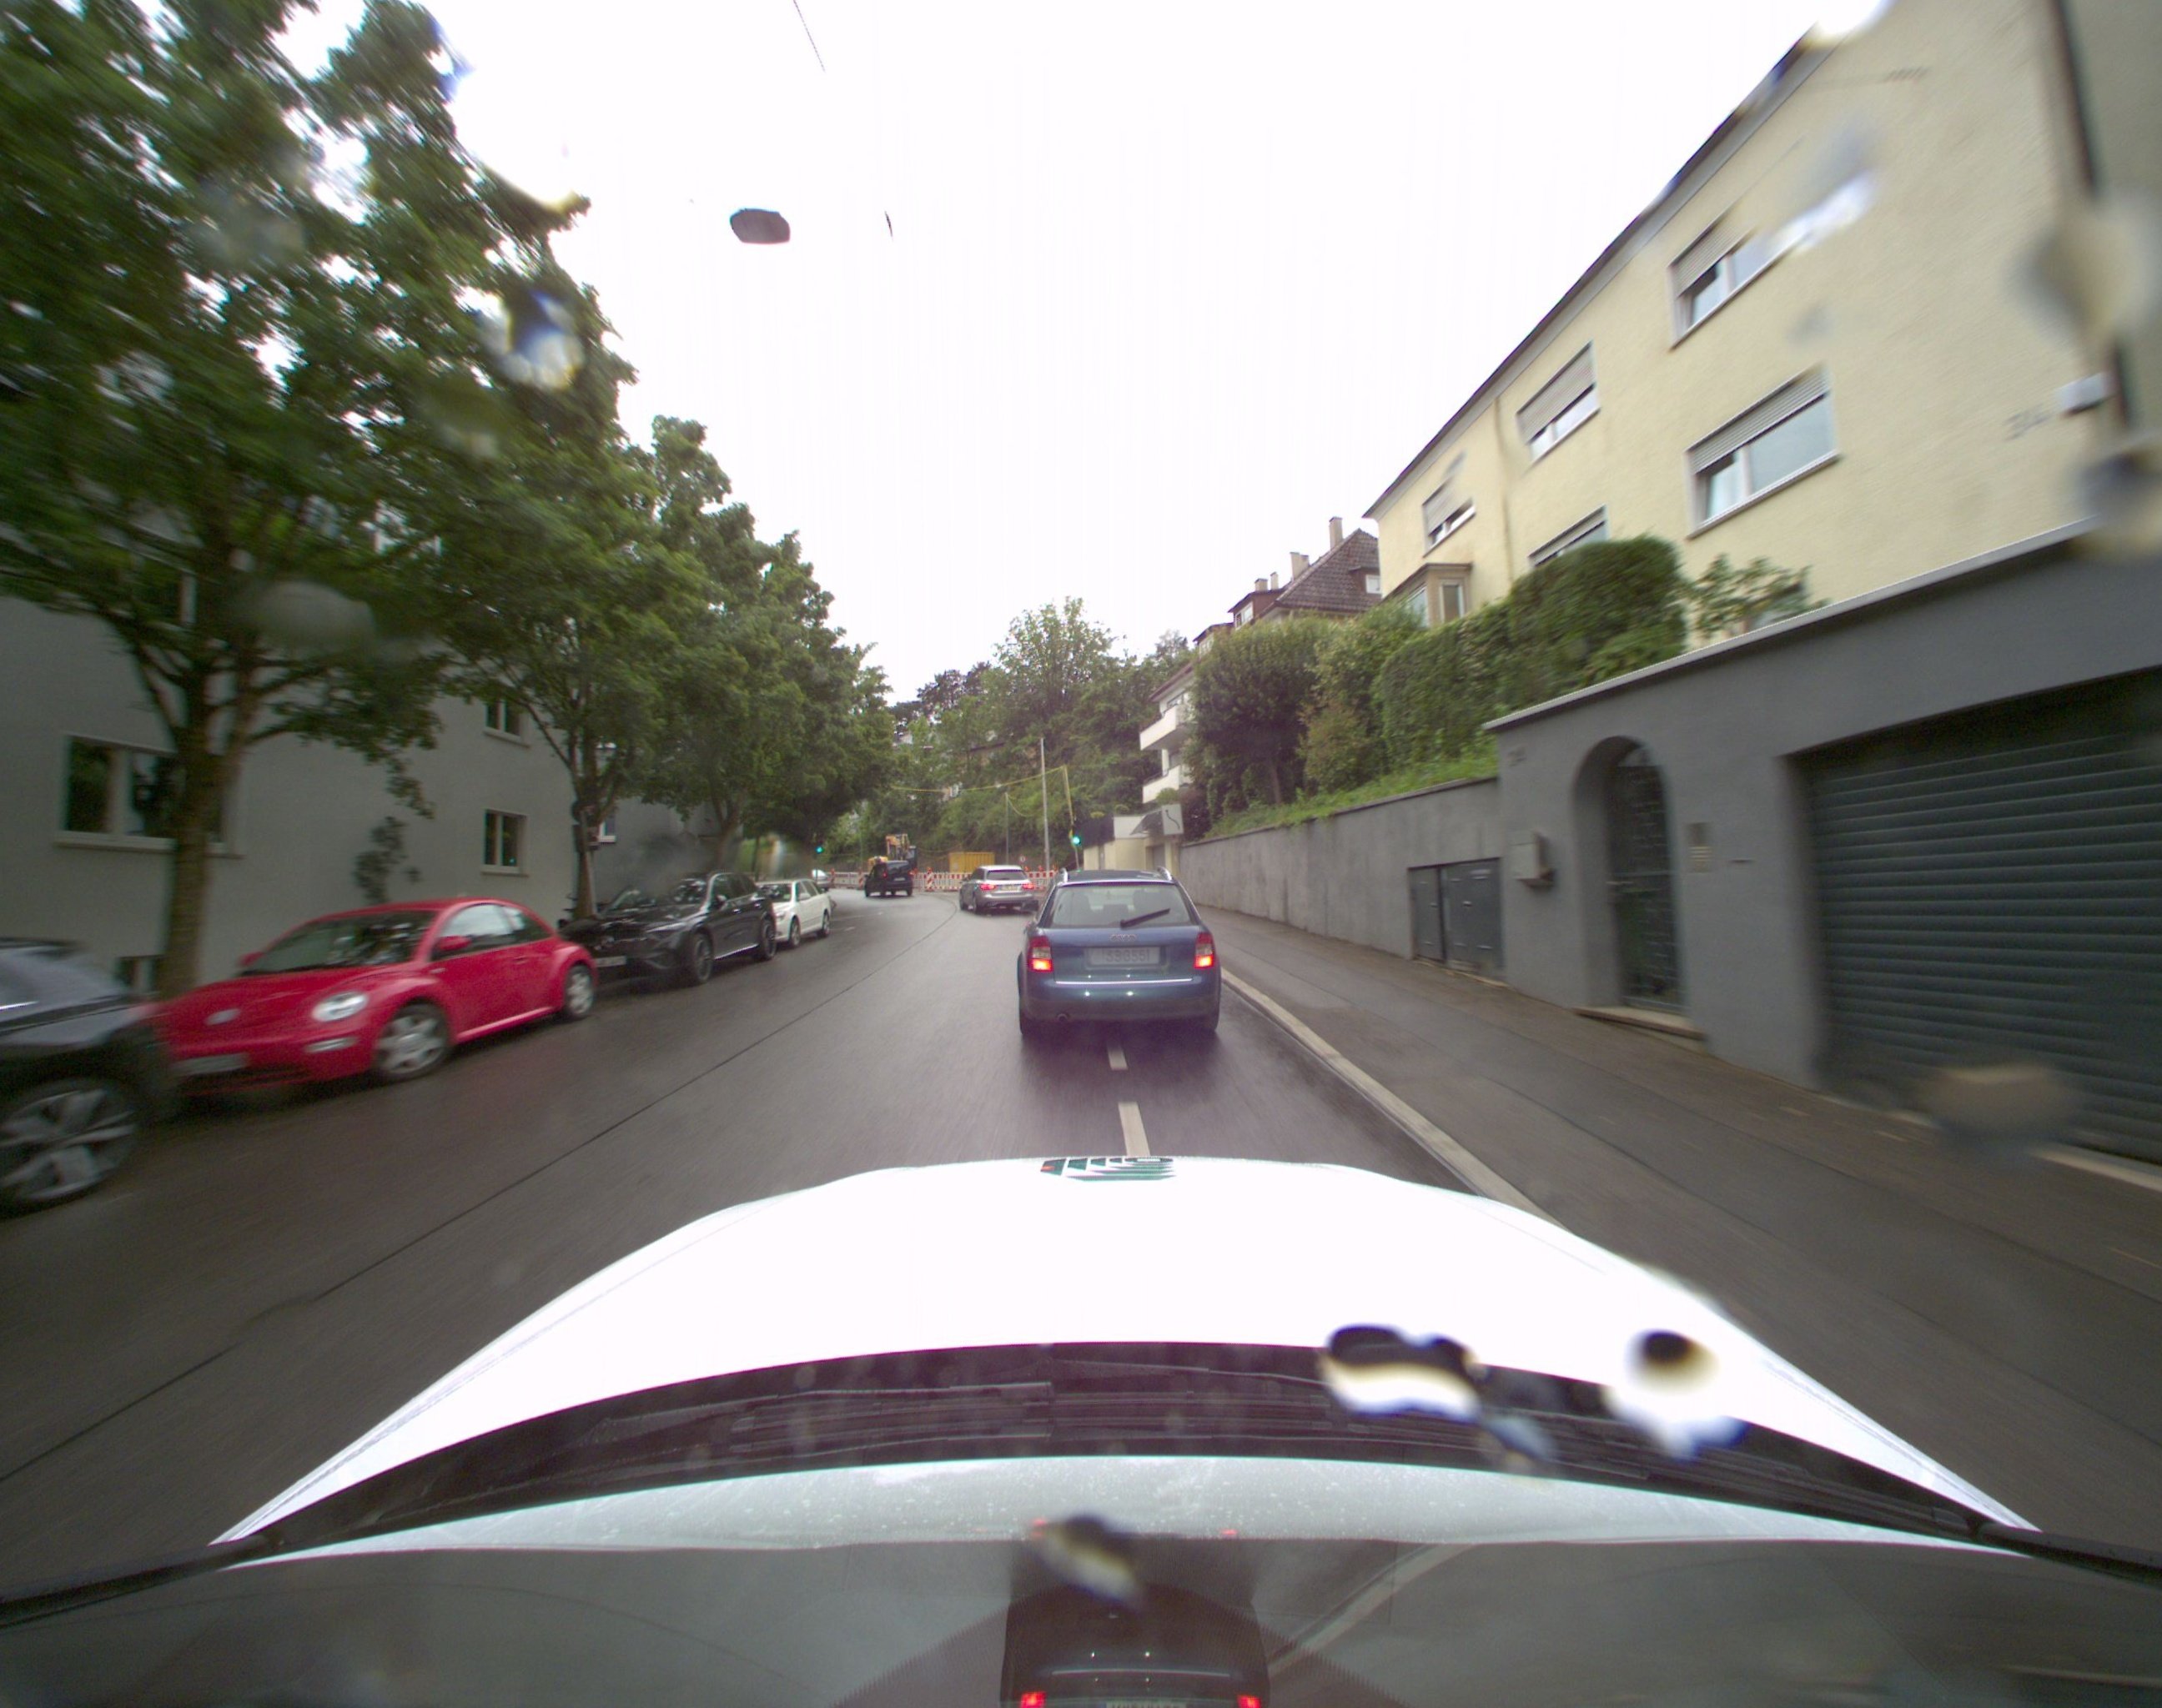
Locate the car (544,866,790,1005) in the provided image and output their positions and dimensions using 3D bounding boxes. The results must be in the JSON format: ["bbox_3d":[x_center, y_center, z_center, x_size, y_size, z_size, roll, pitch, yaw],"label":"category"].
[{"bbox_3d":[-6.250,1.095,12.995,1.678,1.608,4.571,-5,0,-3],"label":"car"}]

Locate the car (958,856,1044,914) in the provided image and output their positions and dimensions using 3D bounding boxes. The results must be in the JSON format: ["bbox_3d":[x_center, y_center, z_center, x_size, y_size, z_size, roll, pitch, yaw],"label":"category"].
[{"bbox_3d":[-2.644,0.918,25.902,1.930,1.618,4.297,-2,0,-16],"label":"car"}]

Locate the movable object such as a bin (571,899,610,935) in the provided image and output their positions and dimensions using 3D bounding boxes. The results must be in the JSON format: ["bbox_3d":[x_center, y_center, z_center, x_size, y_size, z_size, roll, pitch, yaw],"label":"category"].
[{"bbox_3d":[-13.819,1.764,22.952,0.652,0.951,0.645,-3,0,6],"label":"movable object such as a bin"}]

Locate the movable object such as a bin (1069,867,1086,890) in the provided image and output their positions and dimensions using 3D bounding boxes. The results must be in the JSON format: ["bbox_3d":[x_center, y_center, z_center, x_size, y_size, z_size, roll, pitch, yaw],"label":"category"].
[{"bbox_3d":[-0.166,1.171,39.292,0.719,1.032,0.590,-3,-1,-8],"label":"movable object such as a bin"}]

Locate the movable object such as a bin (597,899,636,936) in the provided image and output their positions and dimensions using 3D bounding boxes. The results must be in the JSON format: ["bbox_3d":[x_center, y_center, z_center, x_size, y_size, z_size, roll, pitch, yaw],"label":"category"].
[{"bbox_3d":[-13.048,1.772,22.888,0.652,0.951,0.645,-3,0,6],"label":"movable object such as a bin"}]

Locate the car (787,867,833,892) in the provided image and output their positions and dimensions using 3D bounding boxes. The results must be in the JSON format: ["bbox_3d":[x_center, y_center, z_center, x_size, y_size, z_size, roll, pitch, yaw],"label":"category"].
[{"bbox_3d":[-18.158,1.737,54.467,1.734,1.486,4.031,-3,0,-36],"label":"car"}]

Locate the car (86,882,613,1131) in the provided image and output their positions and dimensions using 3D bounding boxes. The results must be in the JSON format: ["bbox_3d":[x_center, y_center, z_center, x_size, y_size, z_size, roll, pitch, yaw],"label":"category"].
[{"bbox_3d":[-6.285,1.135,7.710,1.630,1.564,3.841,-6,-1,-5],"label":"car"}]

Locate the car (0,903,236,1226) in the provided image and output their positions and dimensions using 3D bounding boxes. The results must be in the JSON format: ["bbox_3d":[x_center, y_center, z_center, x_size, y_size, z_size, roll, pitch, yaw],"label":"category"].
[{"bbox_3d":[-5.978,1.083,2.862,1.550,1.488,4.099,-6,-1,2],"label":"car"}]

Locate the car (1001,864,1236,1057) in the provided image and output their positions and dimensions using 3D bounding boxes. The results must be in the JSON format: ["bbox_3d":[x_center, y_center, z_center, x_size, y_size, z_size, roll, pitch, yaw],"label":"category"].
[{"bbox_3d":[0.371,0.837,8.206,1.778,1.442,3.966,-1,-1,2],"label":"car"}]

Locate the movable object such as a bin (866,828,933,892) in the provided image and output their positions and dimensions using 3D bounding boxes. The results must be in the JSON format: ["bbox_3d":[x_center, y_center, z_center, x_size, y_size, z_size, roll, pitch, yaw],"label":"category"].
[{"bbox_3d":[-12.508,0.386,55.663,2.834,4.014,7.264,-2,0,-26],"label":"movable object such as a bin"}]

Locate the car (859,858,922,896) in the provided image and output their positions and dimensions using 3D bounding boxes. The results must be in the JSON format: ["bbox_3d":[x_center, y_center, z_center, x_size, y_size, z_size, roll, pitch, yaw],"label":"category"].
[{"bbox_3d":[-10.067,1.204,42.875,2.007,1.794,3.960,-3,0,-31],"label":"car"}]

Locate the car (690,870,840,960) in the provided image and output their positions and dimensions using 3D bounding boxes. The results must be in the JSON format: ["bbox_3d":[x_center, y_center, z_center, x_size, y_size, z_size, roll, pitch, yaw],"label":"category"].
[{"bbox_3d":[-6.791,1.230,18.004,1.678,1.508,4.311,-6,0,-3],"label":"car"}]
